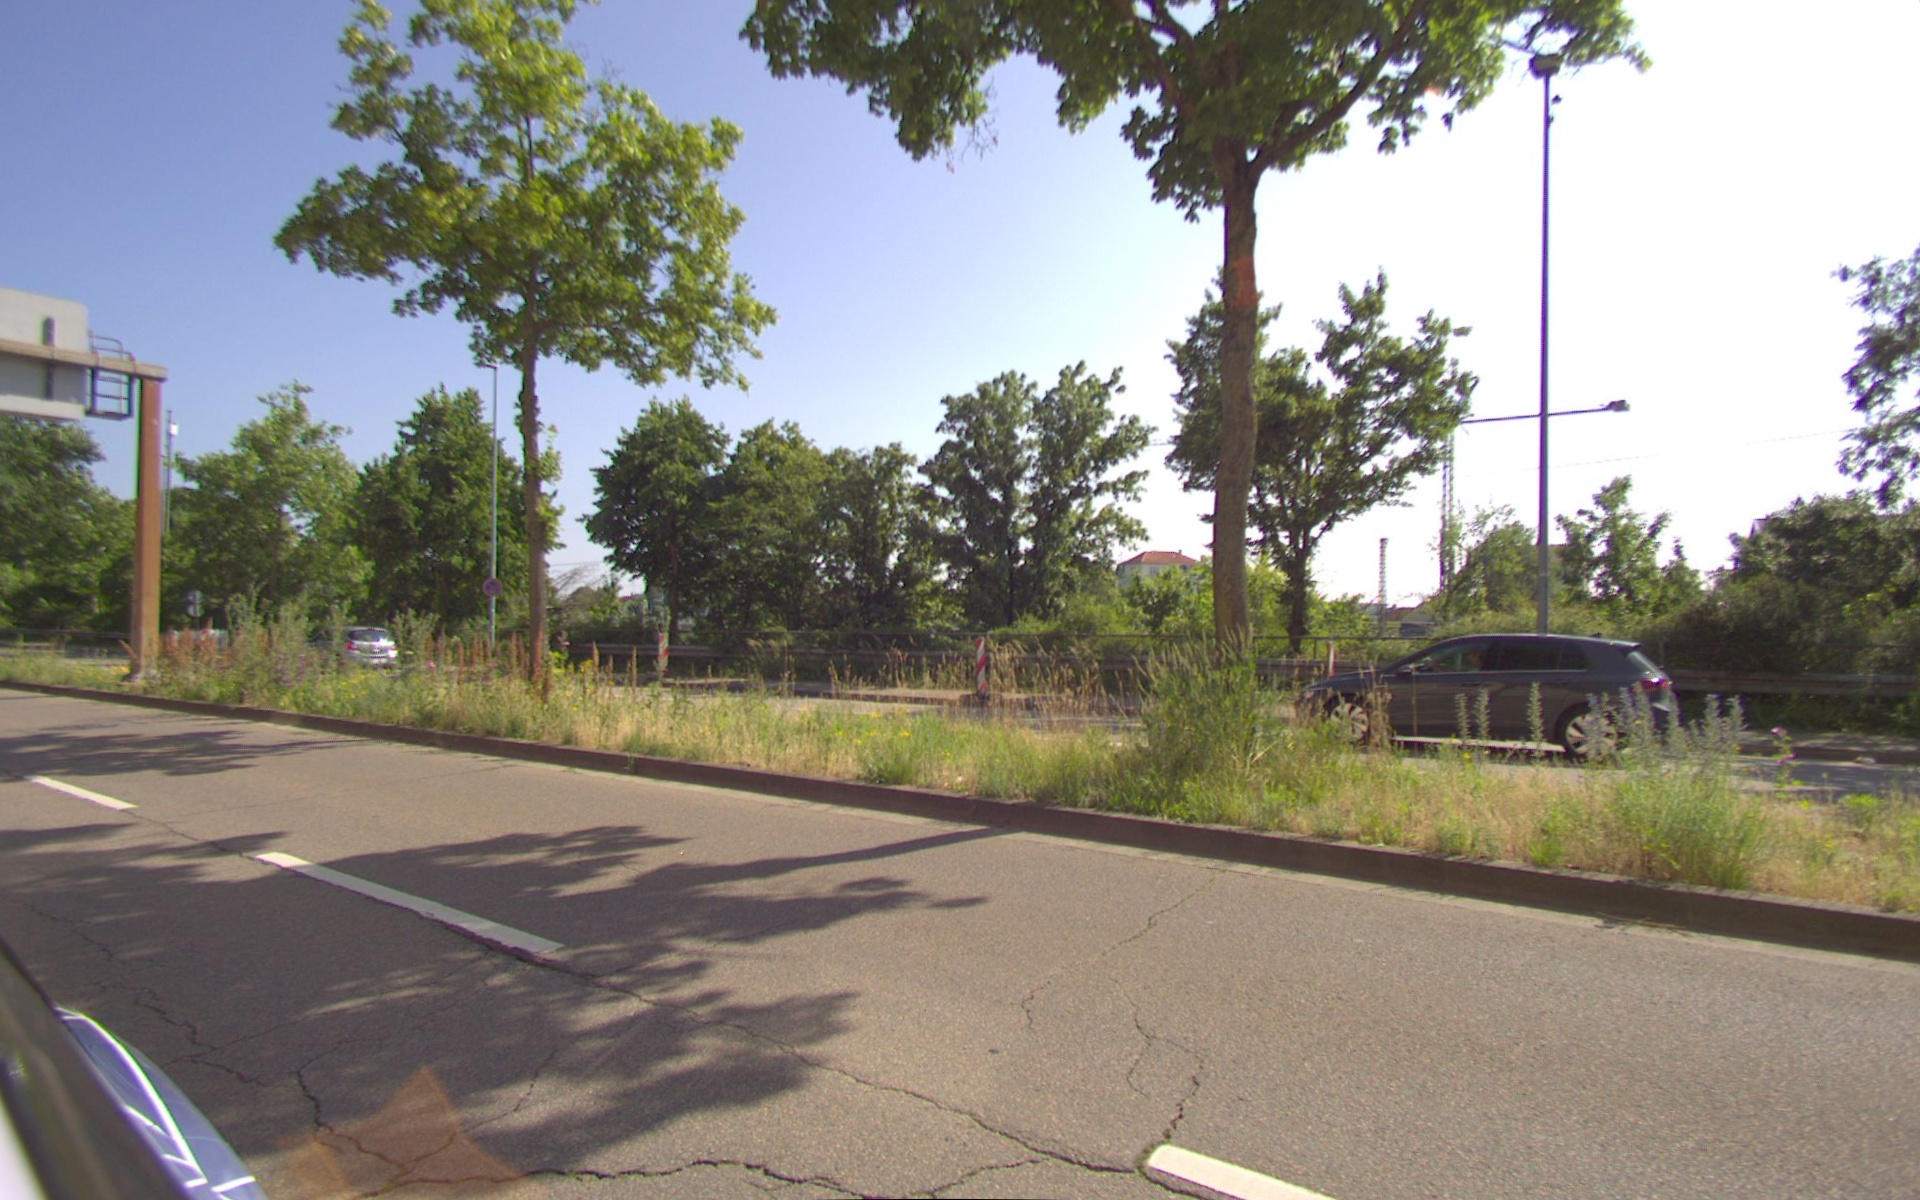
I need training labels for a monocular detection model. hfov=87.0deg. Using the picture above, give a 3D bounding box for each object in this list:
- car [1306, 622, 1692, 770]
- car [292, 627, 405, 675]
[{"bbox_3d":[6.565,1.050,12.525,3.991,1.541,1.782,-1,-2,36],"label":"car"},{"bbox_3d":[-19.252,1.555,31.832,3.962,1.427,1.630,-1,-2,36],"label":"car"}]
